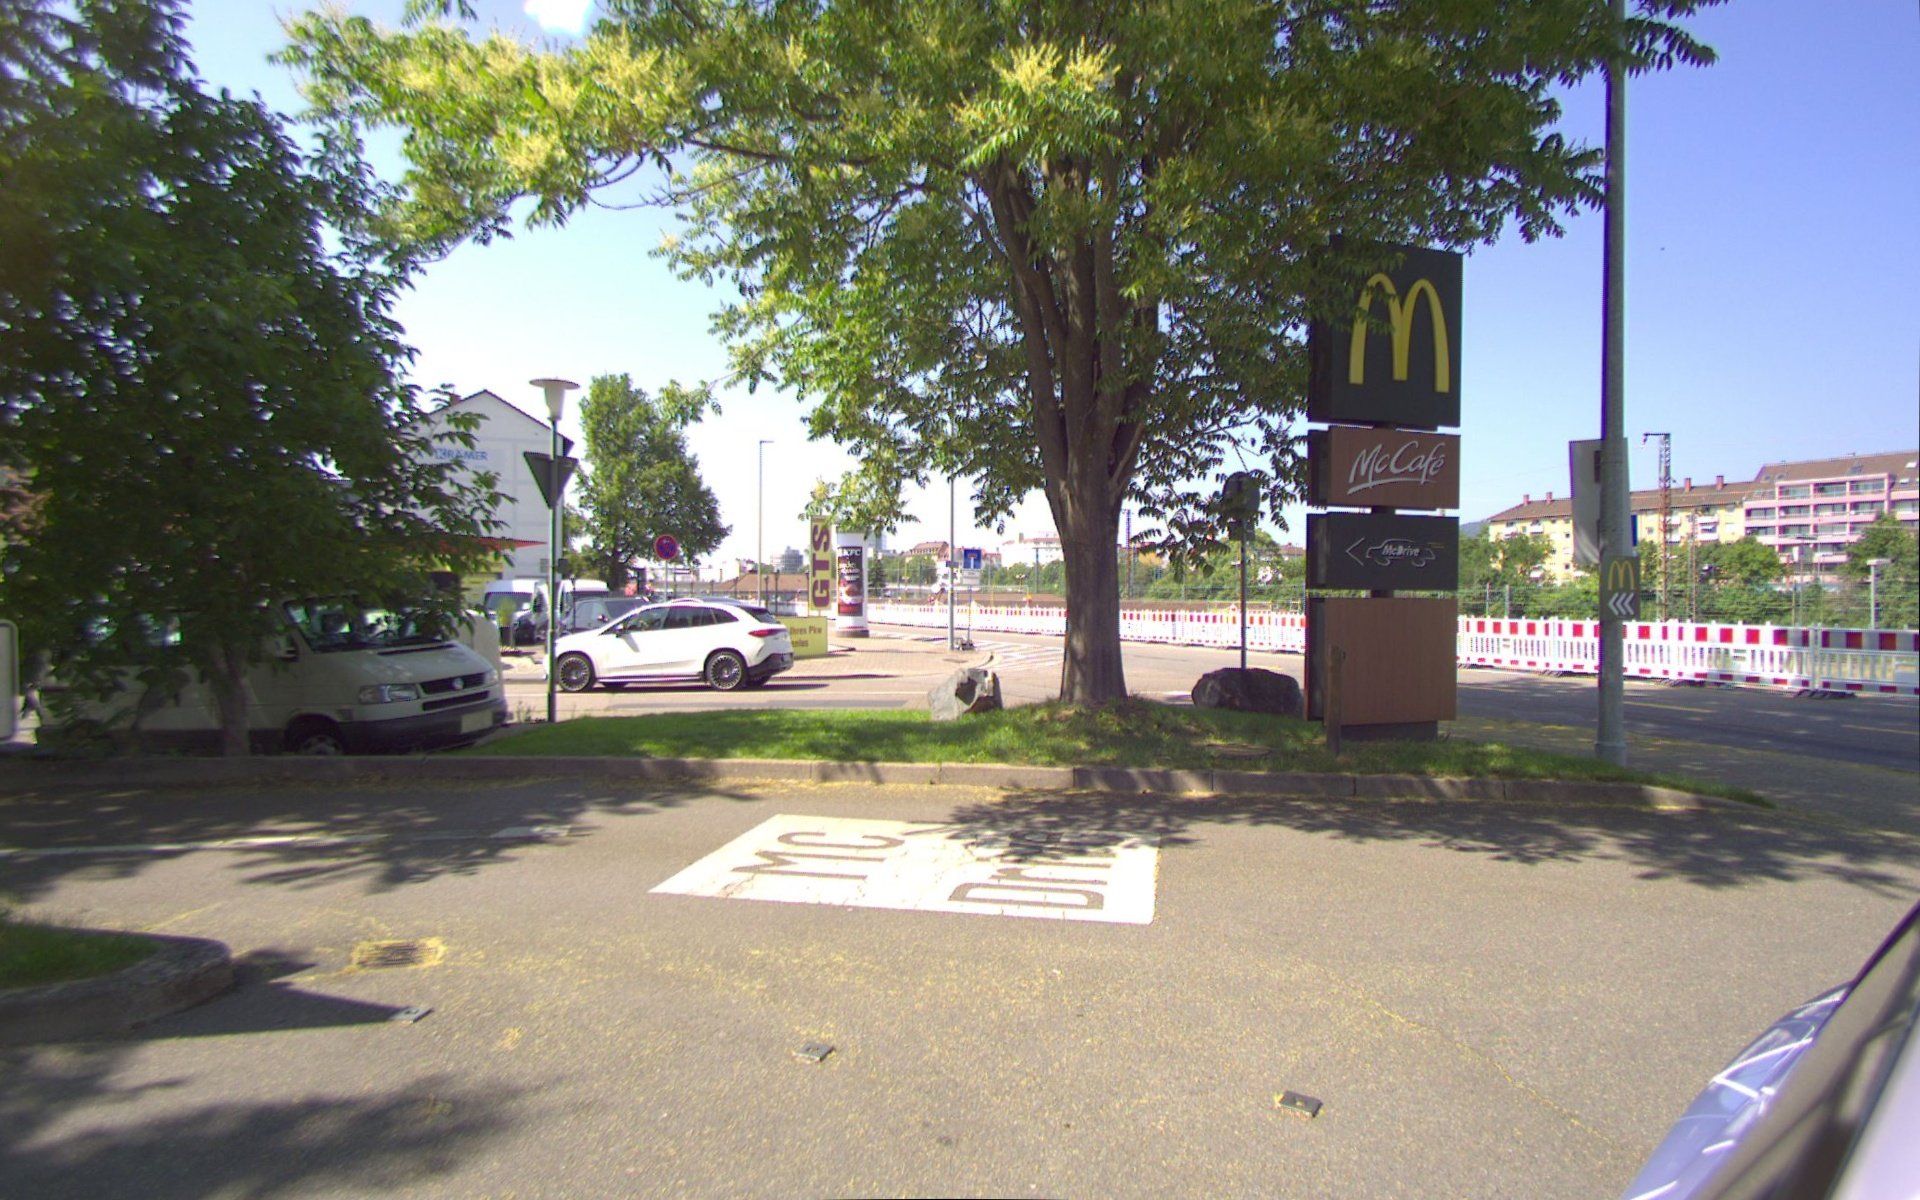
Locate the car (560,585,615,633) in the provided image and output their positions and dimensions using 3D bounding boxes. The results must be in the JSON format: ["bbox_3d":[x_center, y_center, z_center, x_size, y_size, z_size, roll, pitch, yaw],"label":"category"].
[{"bbox_3d":[-14.503,0.346,39.318,1.844,1.760,4.731,1,-1,-21],"label":"car"}]

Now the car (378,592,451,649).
[{"bbox_3d":[-20.872,0.786,38.893,1.958,2.039,4.503,0,-1,-22],"label":"car"}]

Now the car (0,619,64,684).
[{"bbox_3d":[-26.552,1.366,26.763,1.965,1.728,3.992,0,-1,6],"label":"car"}]

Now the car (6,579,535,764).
[{"bbox_3d":[-7.148,0.620,10.553,4.964,1.603,1.946,0,-1,18],"label":"car"}]

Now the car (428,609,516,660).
[{"bbox_3d":[-15.444,1.066,32.207,1.756,1.506,4.007,0,-1,-14],"label":"car"}]

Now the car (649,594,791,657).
[{"bbox_3d":[-7.153,0.737,30.101,3.971,1.748,1.976,-1,-1,34],"label":"car"}]

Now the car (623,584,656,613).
[{"bbox_3d":[-29.865,-0.094,94.146,2.493,2.552,5.127,0,-1,-22],"label":"car"}]

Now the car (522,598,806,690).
[{"bbox_3d":[-5.681,0.842,19.752,4.944,1.666,1.996,-1,-1,6],"label":"car"}]

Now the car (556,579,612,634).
[{"bbox_3d":[-16.753,0.273,44.942,2.098,2.313,4.719,0,0,-24],"label":"car"}]

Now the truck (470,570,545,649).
[{"bbox_3d":[-18.070,0.377,40.669,2.228,2.941,5.954,1,-1,-19],"label":"truck"}]

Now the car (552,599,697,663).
[{"bbox_3d":[-9.178,0.810,27.521,2.020,1.615,4.410,1,-2,-45],"label":"car"}]

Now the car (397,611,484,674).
[{"bbox_3d":[-13.560,1.065,26.608,1.756,1.529,4.006,0,-1,-23],"label":"car"}]

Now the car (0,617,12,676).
[{"bbox_3d":[-29.418,1.351,28.376,1.962,1.748,3.999,-1,-1,-1],"label":"car"}]
